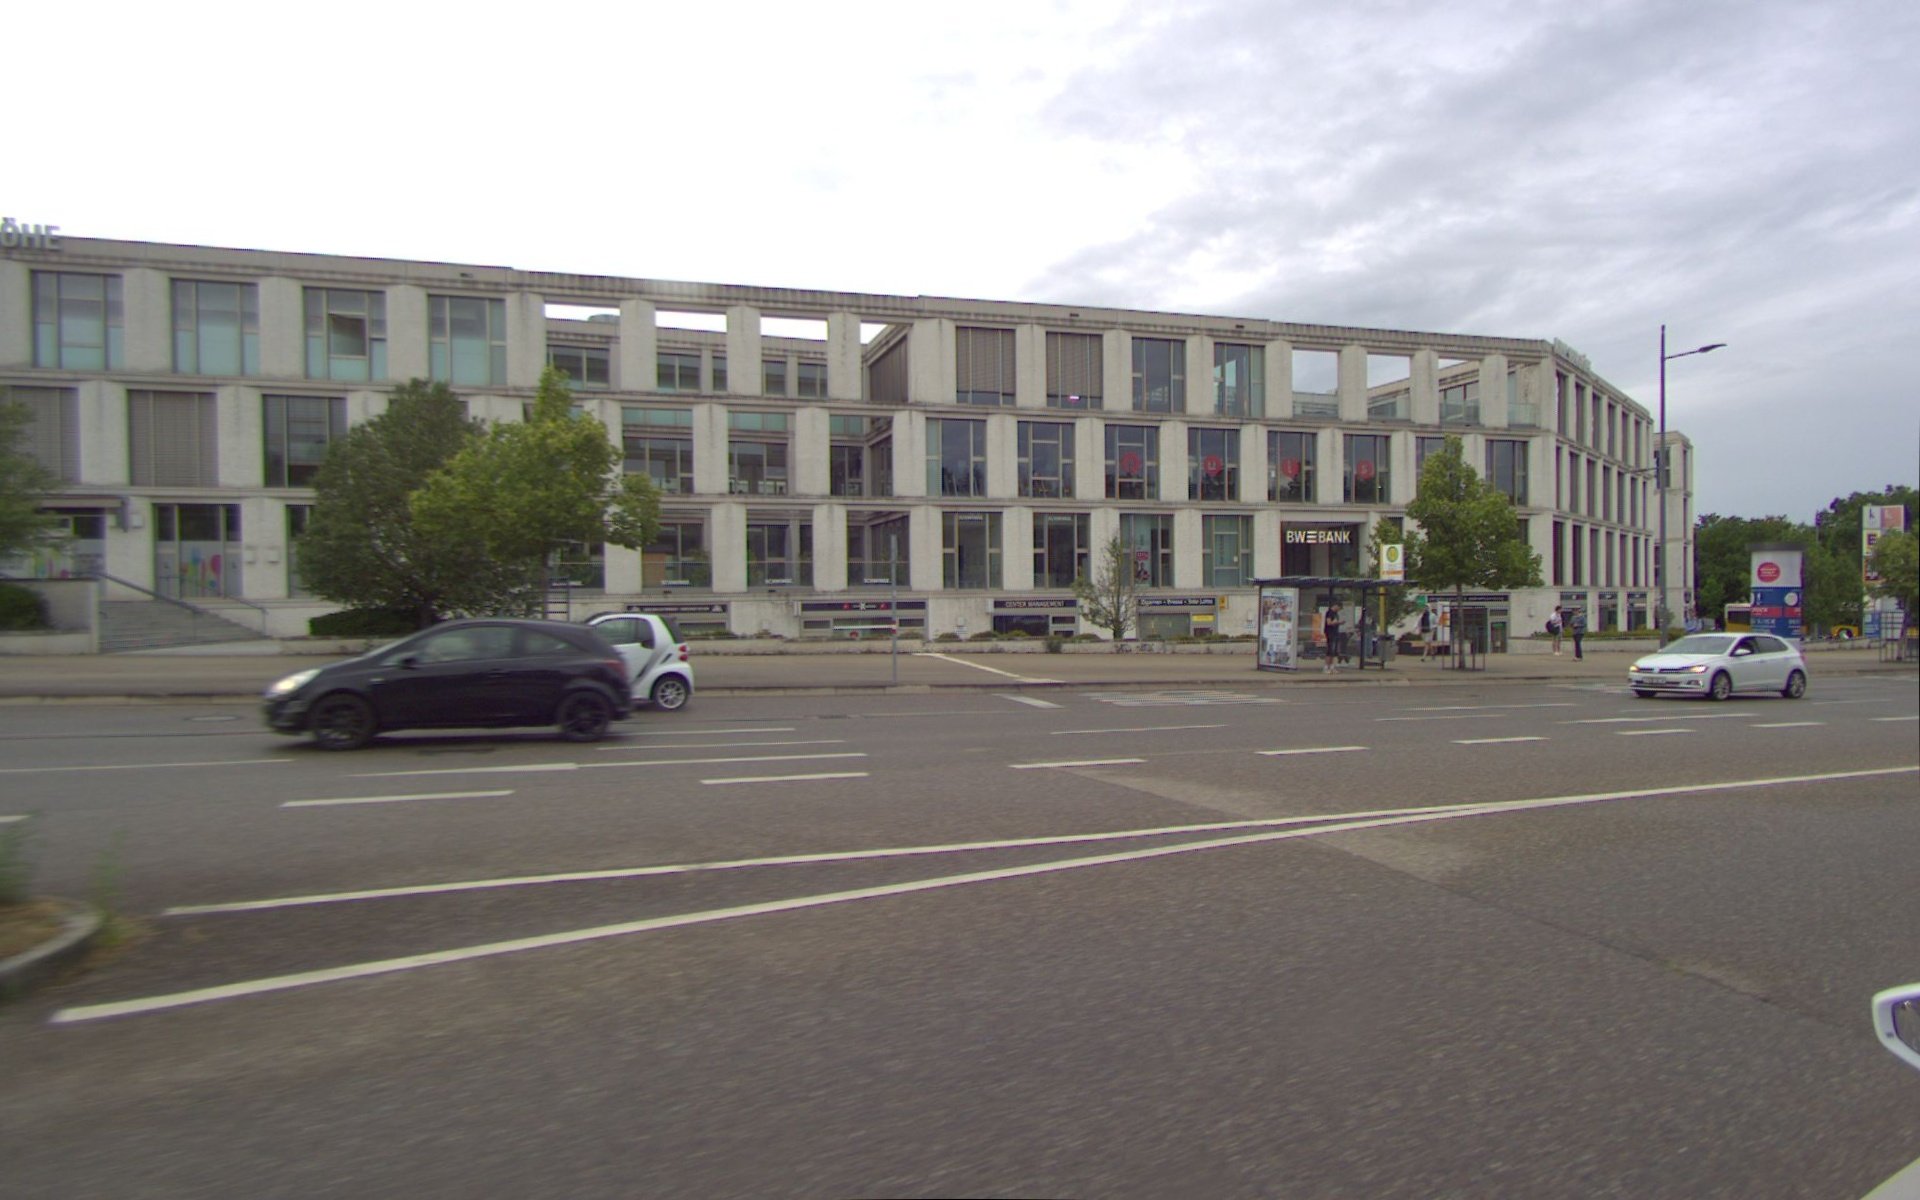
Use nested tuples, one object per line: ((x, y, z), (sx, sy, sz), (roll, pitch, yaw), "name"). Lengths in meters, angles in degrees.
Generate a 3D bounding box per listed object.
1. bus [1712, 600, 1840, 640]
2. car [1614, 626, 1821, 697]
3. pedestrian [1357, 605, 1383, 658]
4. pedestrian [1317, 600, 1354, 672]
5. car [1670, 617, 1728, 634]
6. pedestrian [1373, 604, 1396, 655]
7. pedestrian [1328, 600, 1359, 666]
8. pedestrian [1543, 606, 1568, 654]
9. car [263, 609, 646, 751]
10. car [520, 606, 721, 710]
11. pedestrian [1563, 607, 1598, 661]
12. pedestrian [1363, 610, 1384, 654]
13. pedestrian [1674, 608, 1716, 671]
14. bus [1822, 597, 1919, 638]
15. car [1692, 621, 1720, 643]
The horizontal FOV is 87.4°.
((71.554, 1.754, 88.380), (2.854, 3.351, 8.535), (1, -1, -21), "bus")
((16.809, 1.372, 22.304), (4.117, 1.448, 1.869), (2, -3, -23), "car")
((13.621, 1.042, 33.377), (0.558, 1.748, 0.524), (1, 0, -21), "pedestrian")
((9.823, 0.939, 26.263), (0.745, 1.867, 0.506), (1, 0, -24), "pedestrian")
((67.144, 2.331, 91.331), (1.645, 1.444, 3.956), (1, 0, -24), "car")
((14.616, 1.011, 34.574), (0.612, 1.748, 0.425), (1, 0, -23), "pedestrian")
((11.069, 0.959, 29.007), (0.599, 1.881, 0.578), (1, 0, -25), "pedestrian")
((21.821, 1.097, 36.777), (0.908, 1.712, 0.493), (1, 0, -40), "pedestrian")
((-5.885, 0.911, 12.133), (3.812, 1.481, 1.842), (2, -2, -23), "car")
((-5.541, 0.915, 16.401), (2.930, 1.528, 1.610), (2, 1, -23), "car")
((20.955, 1.141, 33.920), (0.844, 1.785, 0.597), (1, 0, -21), "pedestrian")
((14.062, 1.089, 34.149), (0.502, 1.470, 0.425), (1, 0, -23), "pedestrian")
((22.286, 1.182, 30.454), (0.735, 1.867, 0.752), (1, 0, -21), "pedestrian")
((74.885, 1.392, 79.726), (2.855, 3.144, 9.707), (1, -1, -21), "bus")
((61.748, 2.646, 83.103), (1.752, 1.754, 3.982), (0, -1, 39), "car")
